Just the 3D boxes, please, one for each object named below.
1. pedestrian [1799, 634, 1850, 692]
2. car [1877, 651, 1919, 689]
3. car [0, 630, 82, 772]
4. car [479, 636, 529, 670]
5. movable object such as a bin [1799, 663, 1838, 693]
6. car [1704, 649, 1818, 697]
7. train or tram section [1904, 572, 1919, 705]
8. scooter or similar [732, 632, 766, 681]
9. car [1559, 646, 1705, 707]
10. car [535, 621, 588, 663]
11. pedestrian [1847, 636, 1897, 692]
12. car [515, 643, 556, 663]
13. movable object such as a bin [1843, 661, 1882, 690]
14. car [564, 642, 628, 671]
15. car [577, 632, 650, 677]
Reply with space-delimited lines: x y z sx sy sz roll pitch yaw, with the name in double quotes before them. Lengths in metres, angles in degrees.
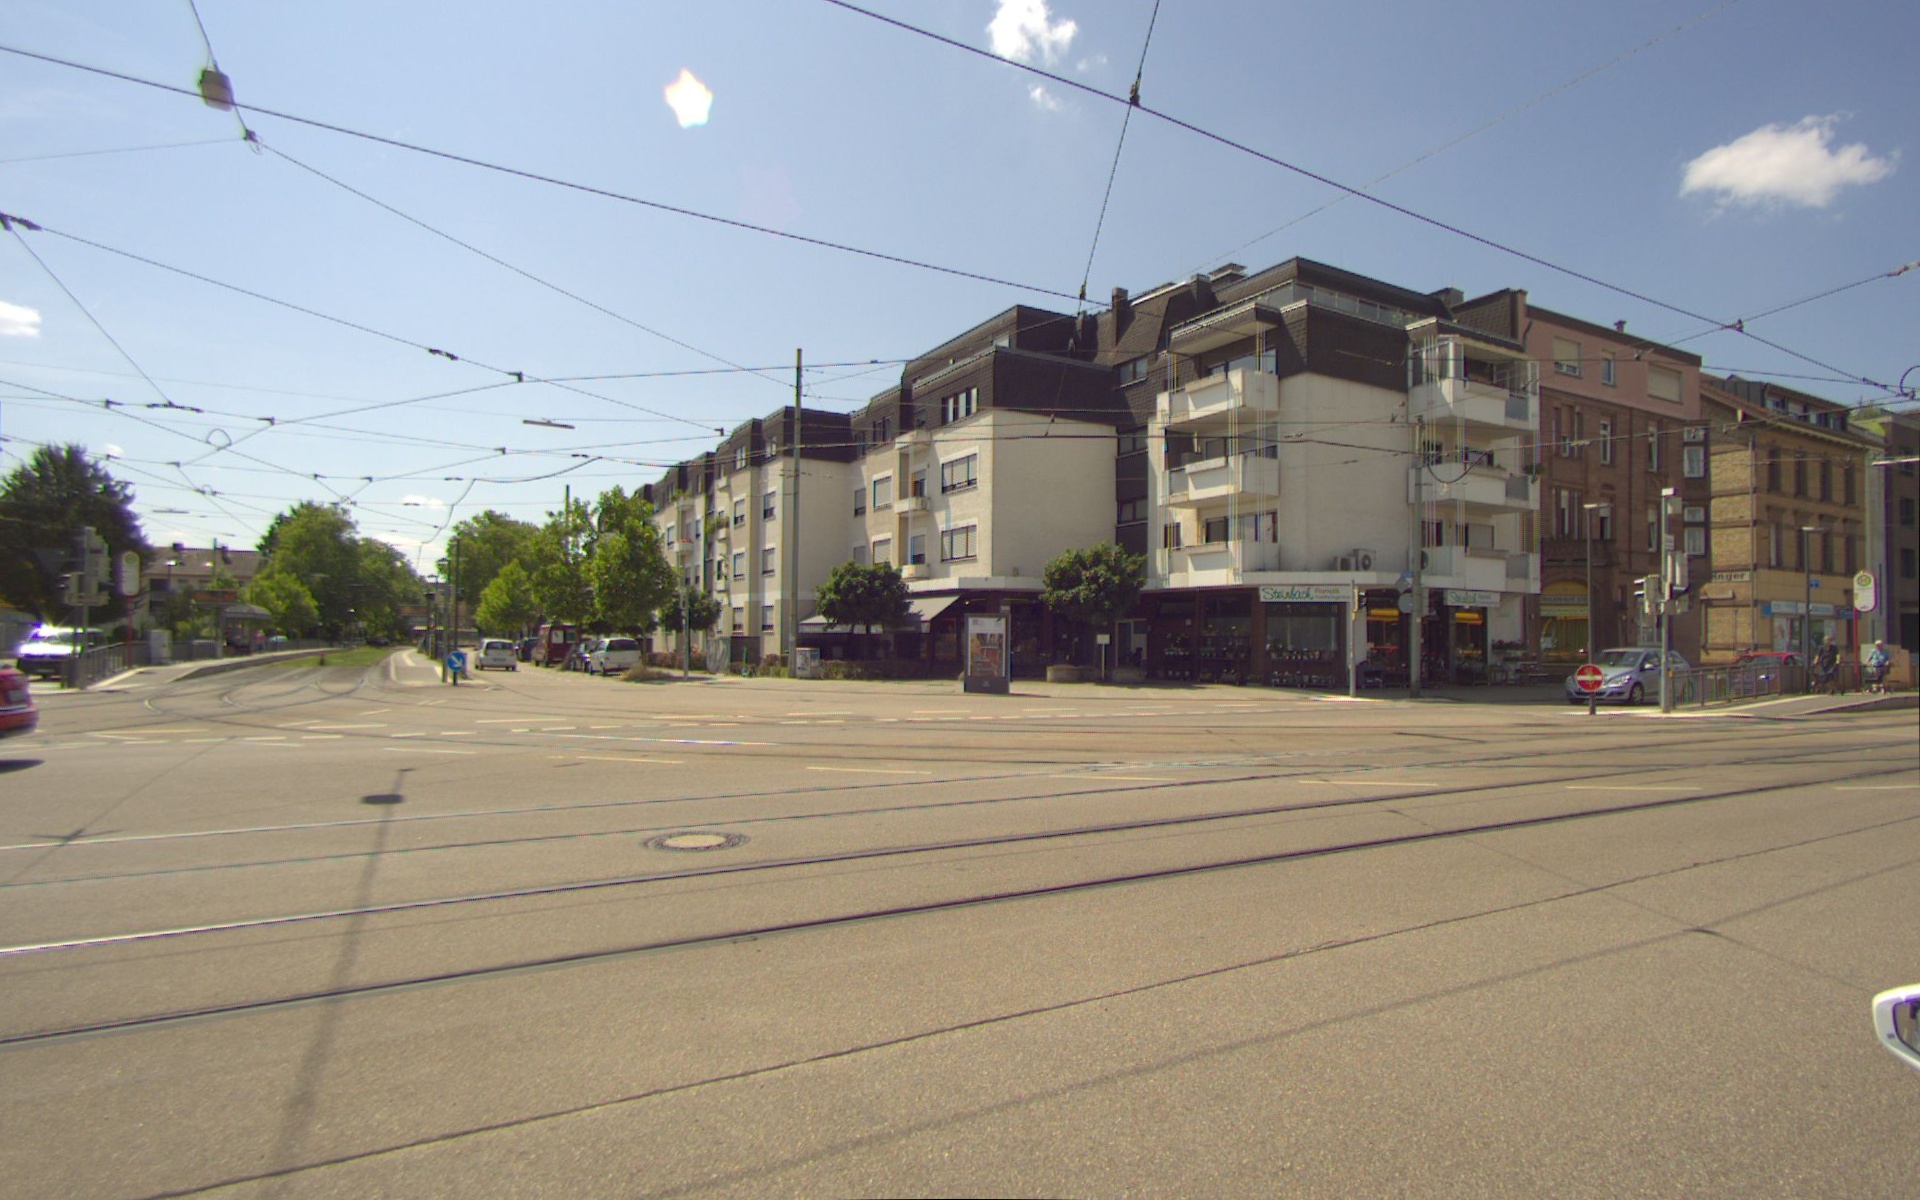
"pedestrian" 23.977 1.735 27.866 0.909 1.580 0.782 2 -3 -30
"car" 38.509 2.788 40.226 3.746 1.475 1.643 2 -3 -31
"car" -12.291 1.029 10.172 4.765 1.469 1.984 2 -3 -30
"car" -22.598 2.594 49.702 1.975 1.627 4.788 1 -3 -27
"movable object such as a bin" 23.630 2.139 27.656 0.532 0.790 0.671 2 -3 -31
"car" 26.251 2.356 32.921 3.808 1.463 1.647 2 -3 -30
"train or tram section" 35.452 1.340 31.291 20.262 3.613 3.235 2 -3 -31
"scooter or similar" -8.229 2.192 39.105 0.610 1.870 1.996 2 -3 -32
"car" 19.247 2.130 28.712 4.553 1.636 1.726 2 -3 -32
"car" -23.567 2.468 59.282 2.190 2.369 5.179 2 -3 -30
"pedestrian" 26.099 1.817 28.747 0.909 1.580 0.782 2 -3 -30
"car" -30.538 3.810 72.202 1.978 1.350 4.779 2 -3 -32
"movable object such as a bin" 25.531 2.119 28.421 0.612 0.790 0.671 2 -3 -31
"car" -18.031 2.765 49.588 1.978 1.350 4.779 2 -3 -32
"car" -15.373 2.372 44.414 1.978 1.863 4.779 2 -3 -32
